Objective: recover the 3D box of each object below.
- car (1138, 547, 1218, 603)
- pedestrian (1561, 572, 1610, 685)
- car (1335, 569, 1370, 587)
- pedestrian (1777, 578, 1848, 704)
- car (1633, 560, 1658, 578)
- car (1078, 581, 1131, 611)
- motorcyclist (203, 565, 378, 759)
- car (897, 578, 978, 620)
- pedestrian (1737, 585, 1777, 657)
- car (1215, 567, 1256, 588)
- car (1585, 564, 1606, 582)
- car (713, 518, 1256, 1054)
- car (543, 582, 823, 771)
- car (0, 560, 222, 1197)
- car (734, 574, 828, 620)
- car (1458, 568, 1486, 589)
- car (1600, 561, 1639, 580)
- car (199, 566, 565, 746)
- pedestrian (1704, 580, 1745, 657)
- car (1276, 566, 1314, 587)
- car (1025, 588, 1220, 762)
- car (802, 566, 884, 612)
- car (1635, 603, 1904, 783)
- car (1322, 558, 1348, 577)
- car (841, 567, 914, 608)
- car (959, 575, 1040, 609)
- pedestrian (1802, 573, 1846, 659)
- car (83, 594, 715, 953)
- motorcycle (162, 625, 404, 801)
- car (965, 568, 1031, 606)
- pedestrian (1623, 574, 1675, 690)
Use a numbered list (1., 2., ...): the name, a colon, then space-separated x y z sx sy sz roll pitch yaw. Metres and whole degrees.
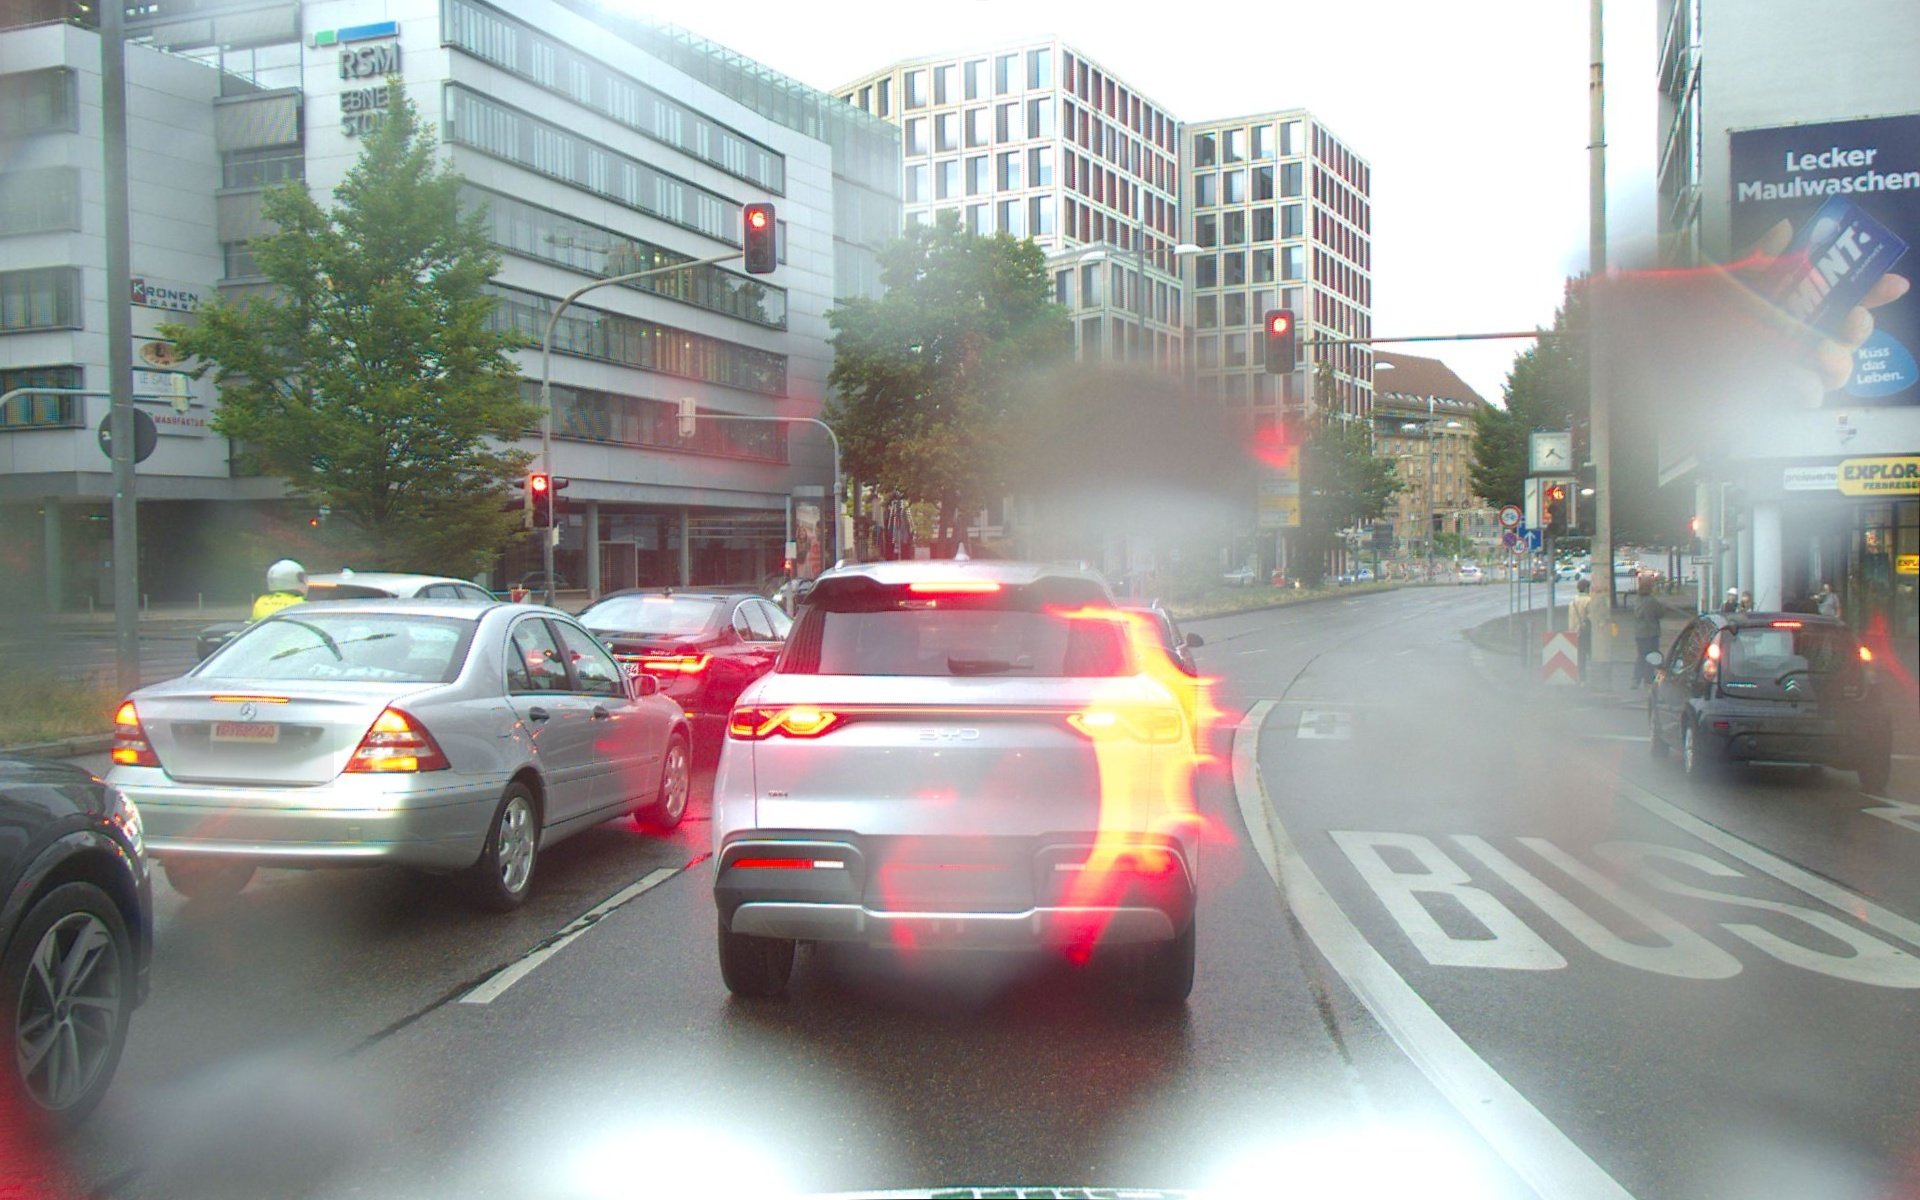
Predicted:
1. car: 8.637 -0.944 65.073 1.953 2.049 4.848 1 0 22
2. pedestrian: 10.339 0.452 27.343 0.733 1.829 0.817 0 1 20
3. car: 32.459 -1.836 136.759 1.955 1.514 3.996 0 1 27
4. pedestrian: 12.106 0.568 23.503 0.753 1.762 0.597 0 0 13
5. car: 62.784 -2.812 151.471 1.662 1.512 3.993 1 0 29
6. car: 8.056 -0.254 91.690 1.598 1.586 4.592 0 1 23
7. motorcyclist: -5.103 0.455 12.678 0.753 1.404 1.119 1 0 9
8. car: -0.764 -0.016 58.918 1.655 1.409 3.870 1 0 18
9. pedestrian: 17.663 0.461 36.651 0.615 1.570 0.649 1 0 43
10. car: 20.522 -1.658 123.128 1.955 1.514 3.996 0 1 27
11. car: 76.675 -3.241 199.512 1.954 2.049 3.996 1 0 26
12. car: 0.124 0.608 7.361 1.739 1.708 4.000 1 0 1
13. car: -2.430 0.632 15.491 1.537 1.512 4.003 1 0 6
14. car: -3.123 0.674 3.054 1.614 1.548 4.271 1 1 0
15. car: -6.657 -0.118 61.771 1.952 1.639 4.001 1 1 20
16. car: 41.309 -1.725 133.443 1.849 1.671 4.000 1 1 22
17. car: 73.507 -3.262 184.383 3.908 2.049 1.998 1 0 26
18. car: -5.452 0.489 16.180 1.670 1.512 4.003 1 0 9
19. pedestrian: 17.160 0.406 37.132 0.659 1.684 0.649 1 0 43
20. car: 25.772 -1.815 127.185 1.955 1.514 3.996 0 1 27
21. car: 1.745 0.672 16.649 1.657 1.512 4.003 1 0 10
22. car: -4.160 -0.400 59.418 1.609 1.563 4.155 1 0 15
23. car: 7.489 0.777 15.648 1.537 1.454 4.003 1 0 15
24. car: 37.252 -3.210 164.198 1.577 1.771 3.437 1 0 31
25. car: -3.404 -0.508 68.999 1.605 1.598 3.718 1 0 22
26. car: 1.965 -0.423 80.212 1.779 1.536 5.189 0 1 28
27. pedestrian: 18.754 0.338 35.910 0.659 1.825 0.768 1 0 43
28. car: -2.618 0.714 8.825 1.537 1.432 4.112 1 0 7
29. motorcycle: -5.126 0.809 12.695 0.783 1.205 2.030 1 0 8
30. car: 1.679 -0.553 72.192 1.610 1.608 4.086 1 0 21
31. pedestrian: 11.109 0.497 26.691 0.733 1.829 0.817 0 1 20
